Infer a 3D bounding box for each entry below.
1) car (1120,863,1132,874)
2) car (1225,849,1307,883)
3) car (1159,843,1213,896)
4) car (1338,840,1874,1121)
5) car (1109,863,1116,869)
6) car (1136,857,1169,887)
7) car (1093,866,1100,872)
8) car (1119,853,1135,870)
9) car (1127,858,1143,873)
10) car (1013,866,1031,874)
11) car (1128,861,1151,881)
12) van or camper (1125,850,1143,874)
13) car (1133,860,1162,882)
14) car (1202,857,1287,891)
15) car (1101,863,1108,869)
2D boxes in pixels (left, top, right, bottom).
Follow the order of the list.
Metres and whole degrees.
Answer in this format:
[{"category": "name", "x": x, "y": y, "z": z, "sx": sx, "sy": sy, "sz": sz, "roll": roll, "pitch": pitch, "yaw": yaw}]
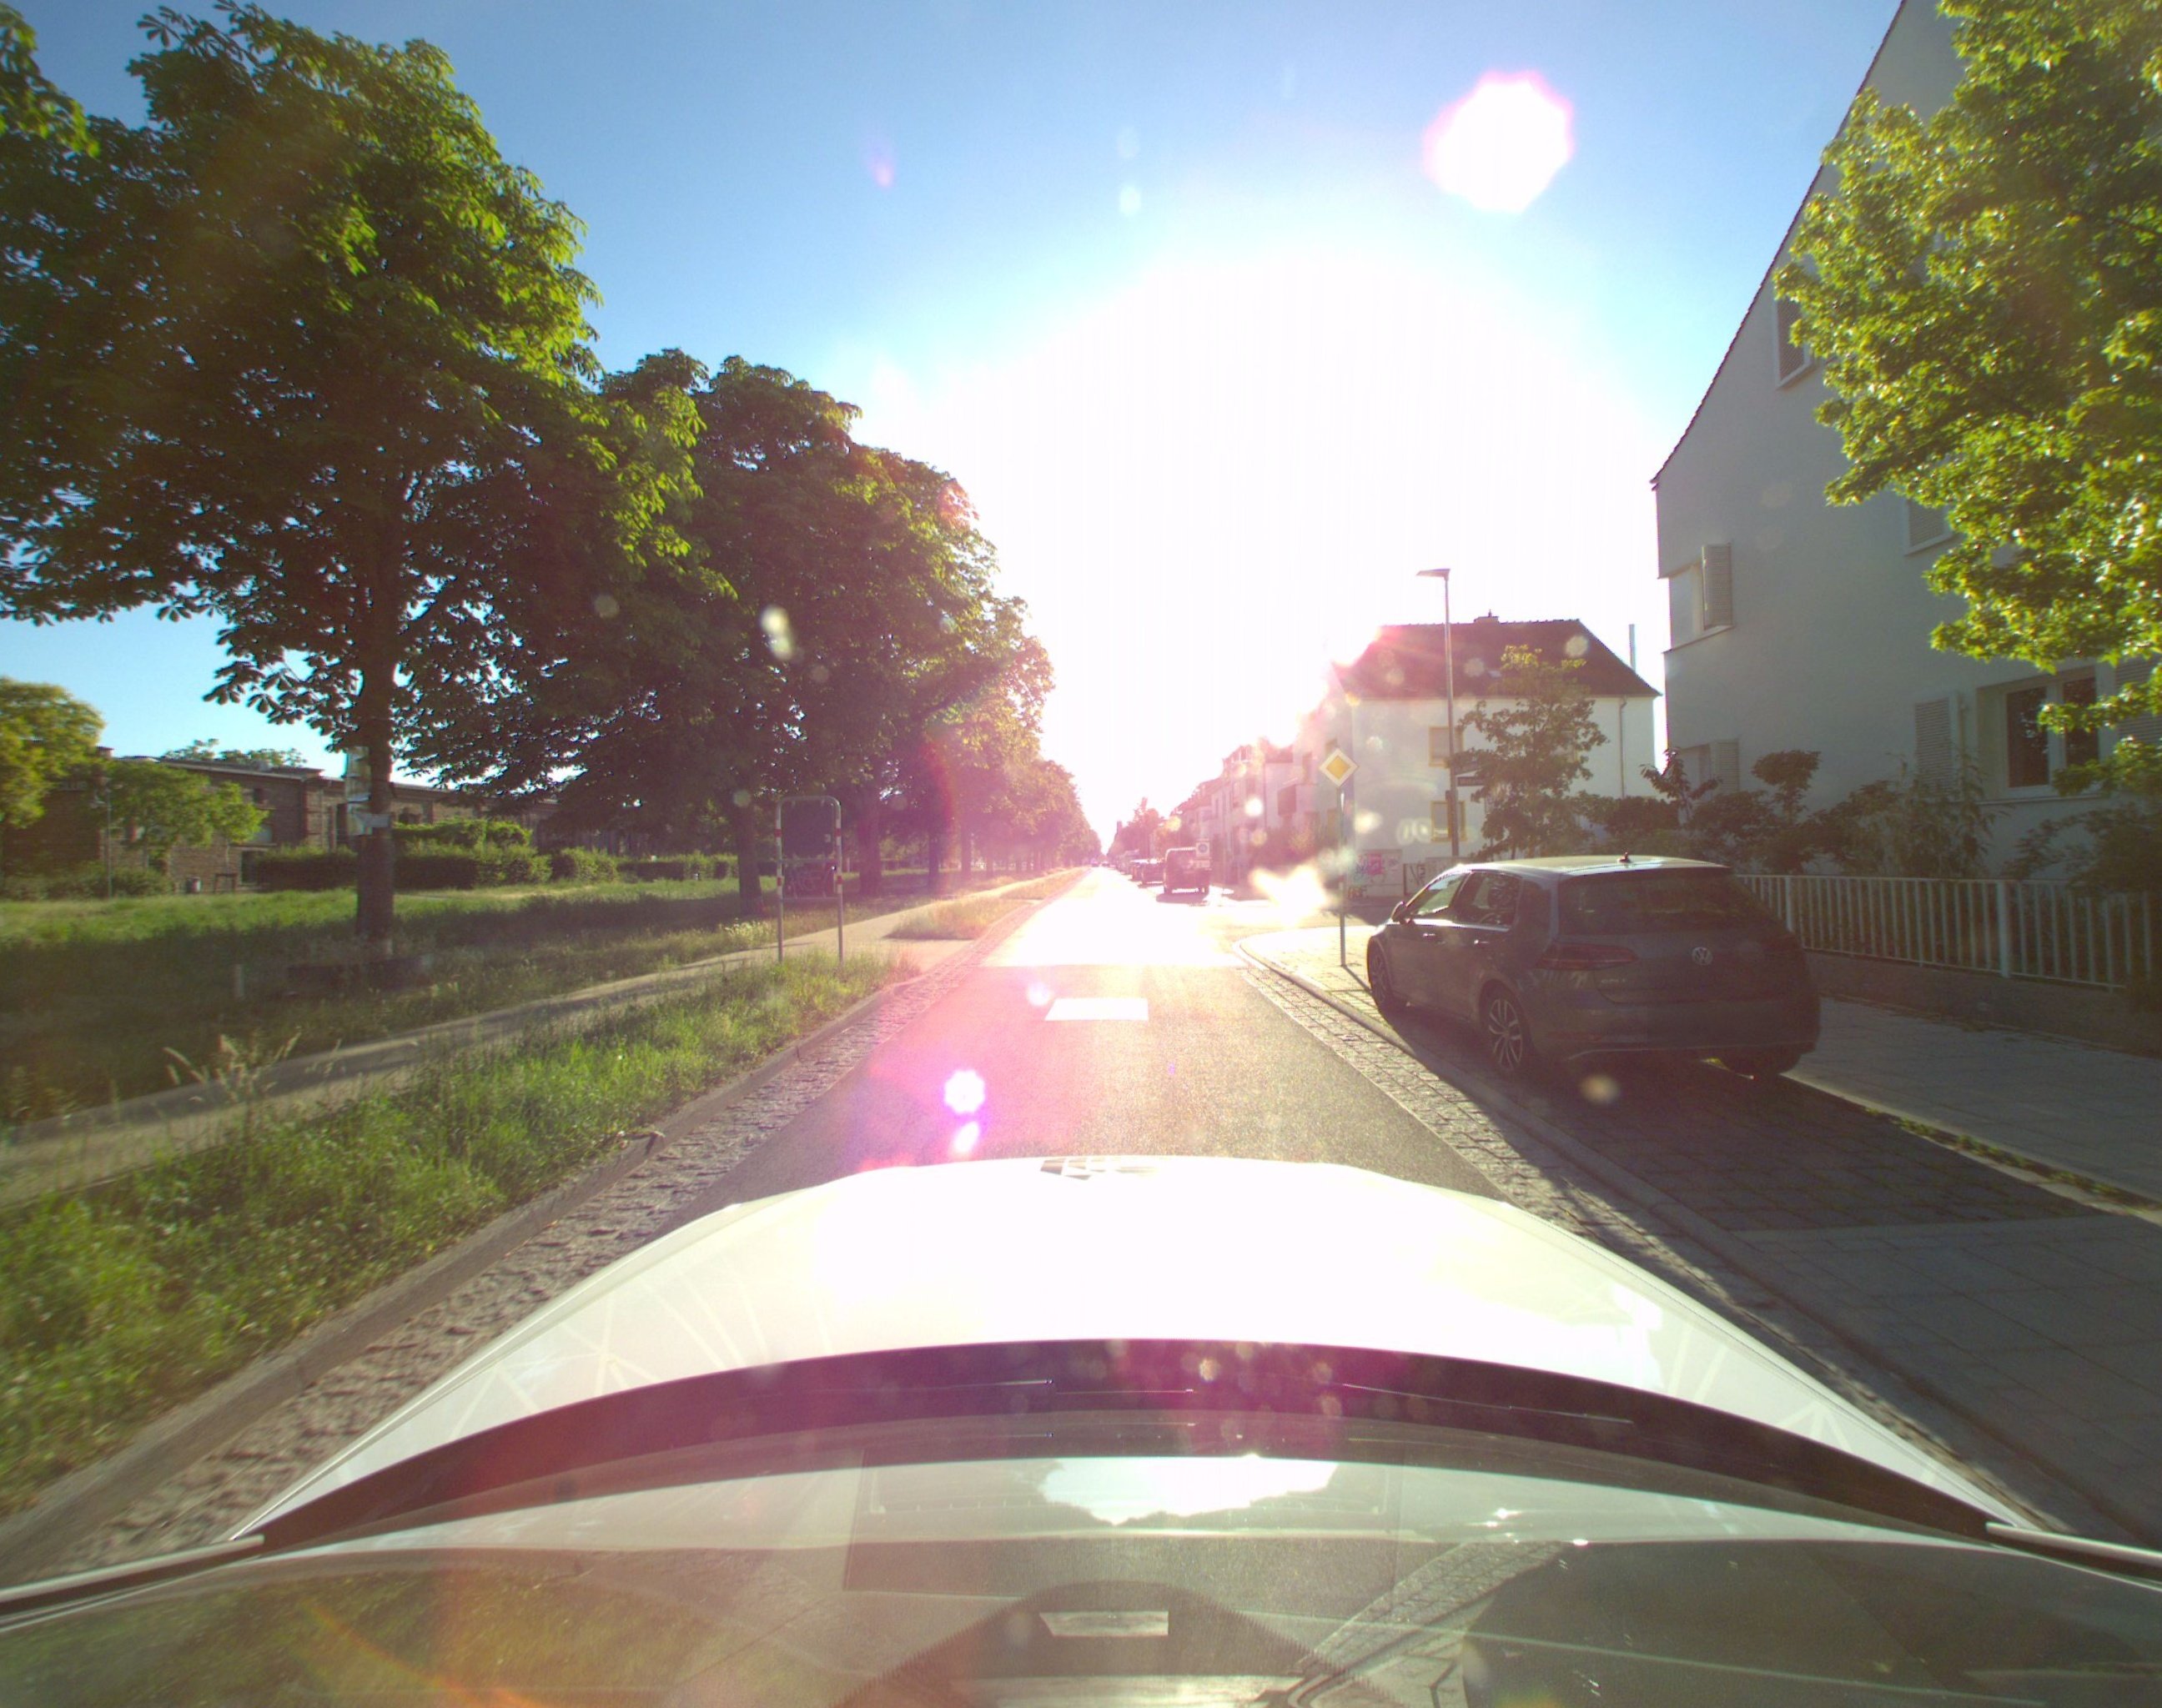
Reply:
[{"category": "car", "x": 6.787, "y": 2.181, "z": 122.273, "sx": 1.643, "sy": 1.530, "sz": 3.853, "roll": -2, "pitch": -1, "yaw": 3}, {"category": "car", "x": 10.445, "y": 0.665, "z": 46.211, "sx": 4.206, "sy": 1.726, "sz": 1.852, "roll": -2, "pitch": -1, "yaw": -2}, {"category": "car", "x": 4.646, "y": 0.660, "z": 36.566, "sx": 1.898, "sy": 2.132, "sz": 4.817, "roll": -3, "pitch": -1, "yaw": 3}, {"category": "car", "x": 3.607, "y": 0.698, "z": 6.655, "sx": 1.787, "sy": 1.482, "sz": 4.126, "roll": -4, "pitch": 0, "yaw": 3}, {"category": "car", "x": 8.338, "y": 3.127, "z": 216.011, "sx": 1.643, "sy": 1.530, "sz": 3.853, "roll": 0, "pitch": -1, "yaw": 3}, {"category": "car", "x": 4.617, "y": 1.119, "z": 52.944, "sx": 1.787, "sy": 1.771, "sz": 4.474, "roll": -3, "pitch": -1, "yaw": 1}, {"category": "car", "x": 4.393, "y": 4.294, "z": 233.387, "sx": 1.856, "sy": 1.597, "sz": 3.870, "roll": 0, "pitch": -1, "yaw": 1}, {"category": "car", "x": 7.263, "y": 1.246, "z": 128.491, "sx": 2.120, "sy": 2.533, "sz": 5.187, "roll": -2, "pitch": -1, "yaw": 0}, {"category": "car", "x": 6.014, "y": 1.300, "z": 91.659, "sx": 1.657, "sy": 1.593, "sz": 4.087, "roll": 0, "pitch": -1, "yaw": 2}, {"category": "car", "x": -14.667, "y": 3.966, "z": 201.450, "sx": 4.342, "sy": 1.764, "sz": 1.995, "roll": 0, "pitch": -1, "yaw": -7}, {"category": "car", "x": 5.021, "y": 1.464, "z": 70.797, "sx": 1.825, "sy": 1.685, "sz": 4.417, "roll": 0, "pitch": 0, "yaw": 2}, {"category": "van or camper", "x": 6.330, "y": 0.976, "z": 98.159, "sx": 1.936, "sy": 2.778, "sz": 5.941, "roll": 0, "pitch": -1, "yaw": 2}, {"category": "car", "x": 5.271, "y": 1.346, "z": 64.939, "sx": 1.713, "sy": 1.574, "sz": 4.207, "roll": -3, "pitch": -1, "yaw": -2}, {"category": "car", "x": 8.808, "y": 1.082, "z": 44.164, "sx": 4.206, "sy": 1.726, "sz": 1.852, "roll": -1, "pitch": -1, "yaw": -2}, {"category": "car", "x": 6.747, "y": 3.394, "z": 234.264, "sx": 1.856, "sy": 1.597, "sz": 3.894, "roll": 0, "pitch": -1, "yaw": 1}]
